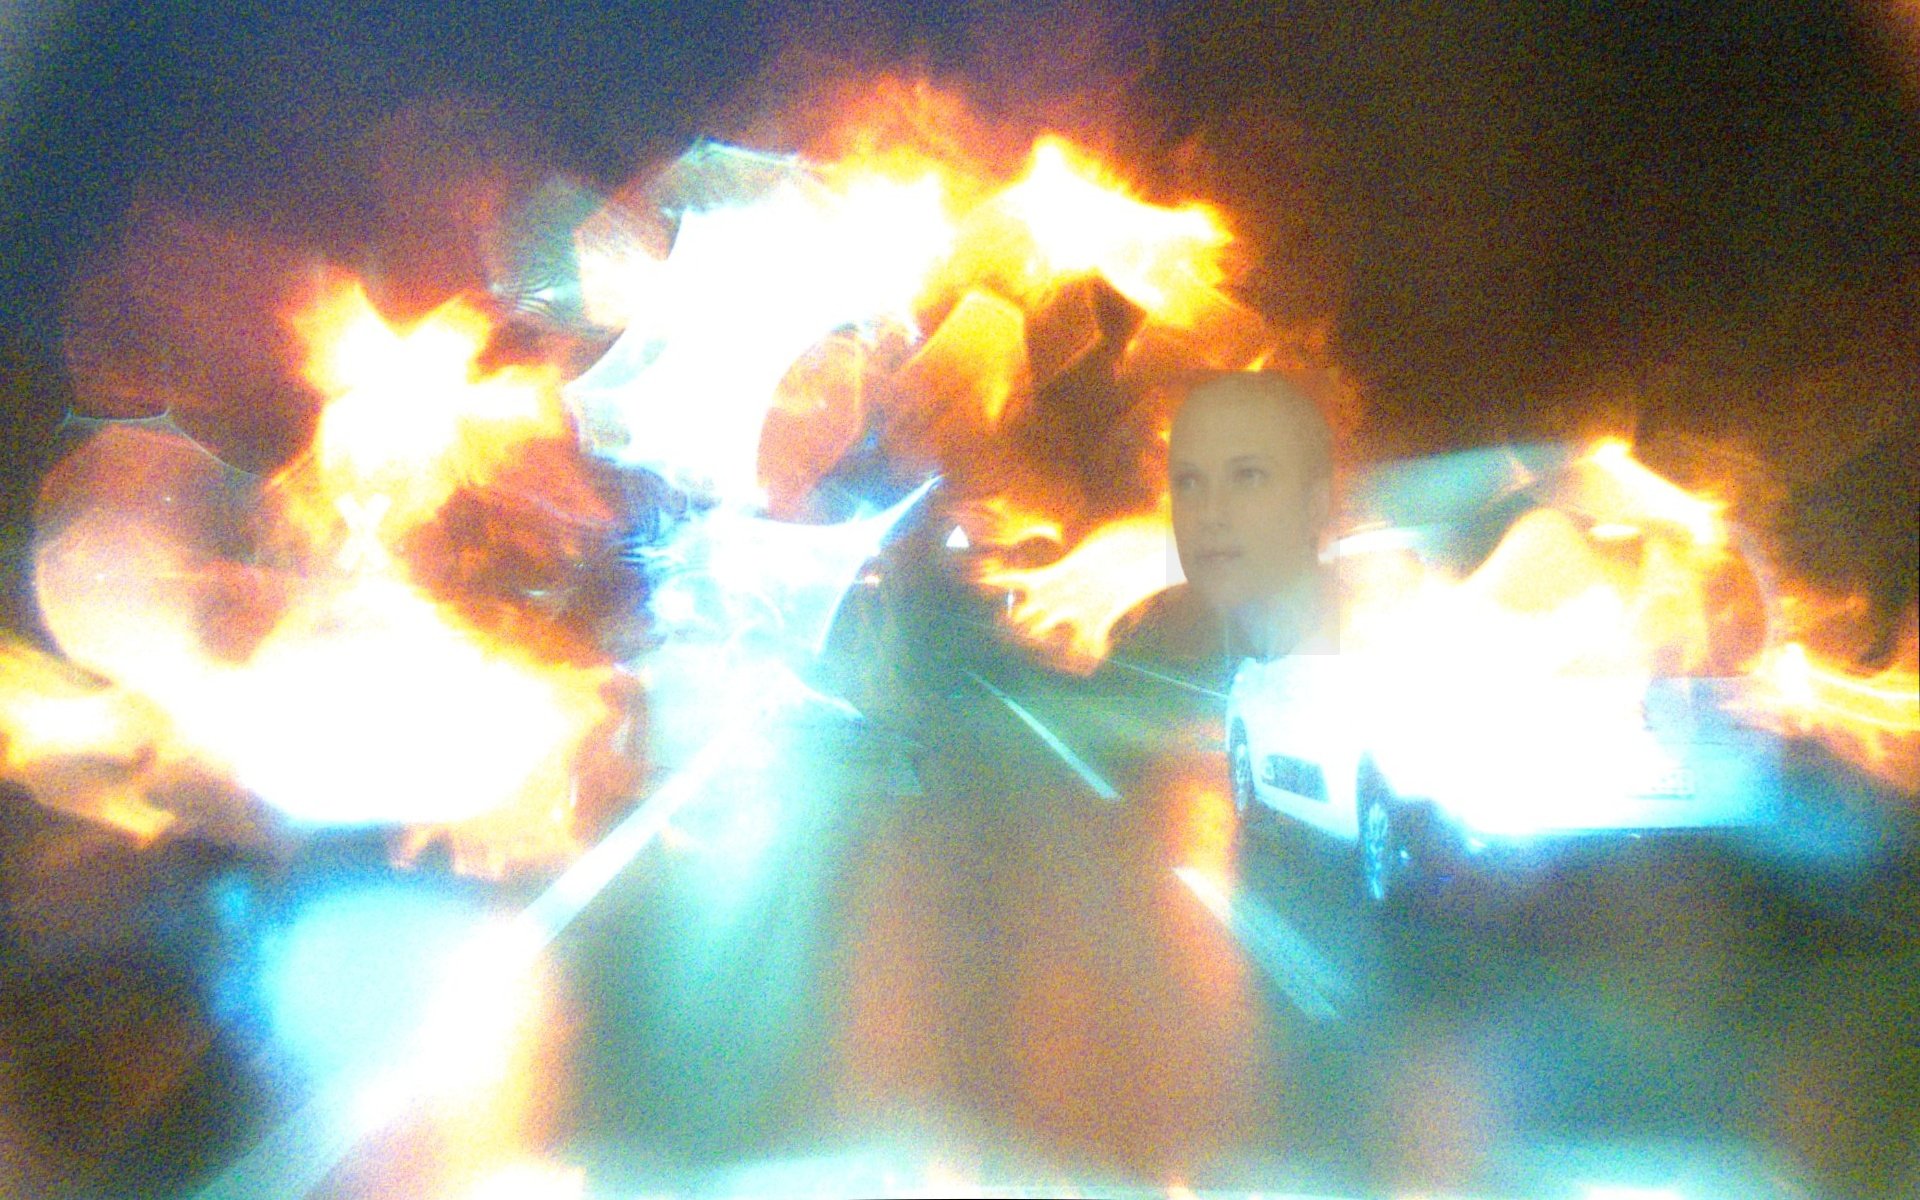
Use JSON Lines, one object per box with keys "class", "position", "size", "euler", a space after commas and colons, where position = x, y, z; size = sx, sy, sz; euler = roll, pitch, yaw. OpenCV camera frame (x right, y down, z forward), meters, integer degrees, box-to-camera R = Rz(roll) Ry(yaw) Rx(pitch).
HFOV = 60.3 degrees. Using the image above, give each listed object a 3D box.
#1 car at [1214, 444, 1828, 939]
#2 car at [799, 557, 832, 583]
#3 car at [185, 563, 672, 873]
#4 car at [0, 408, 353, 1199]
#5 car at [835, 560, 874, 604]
{"class": "car", "position": [2.709, 0.369, 9.226], "size": [1.755, 2.057, 4.578], "euler": [1, 0, -1]}
{"class": "car", "position": [-11.257, -2.289, 128.955], "size": [1.953, 1.746, 4.001], "euler": [5, -1, 2]}
{"class": "car", "position": [-3.046, 0.572, 10.506], "size": [1.747, 1.537, 4.435], "euler": [0, 0, -1]}
{"class": "car", "position": [-2.902, 0.495, 3.367], "size": [1.747, 1.813, 4.435], "euler": [1, 1, -1]}
{"class": "car", "position": [-5.089, -0.867, 79.493], "size": [1.756, 2.057, 4.575], "euler": [1, 0, -5]}
